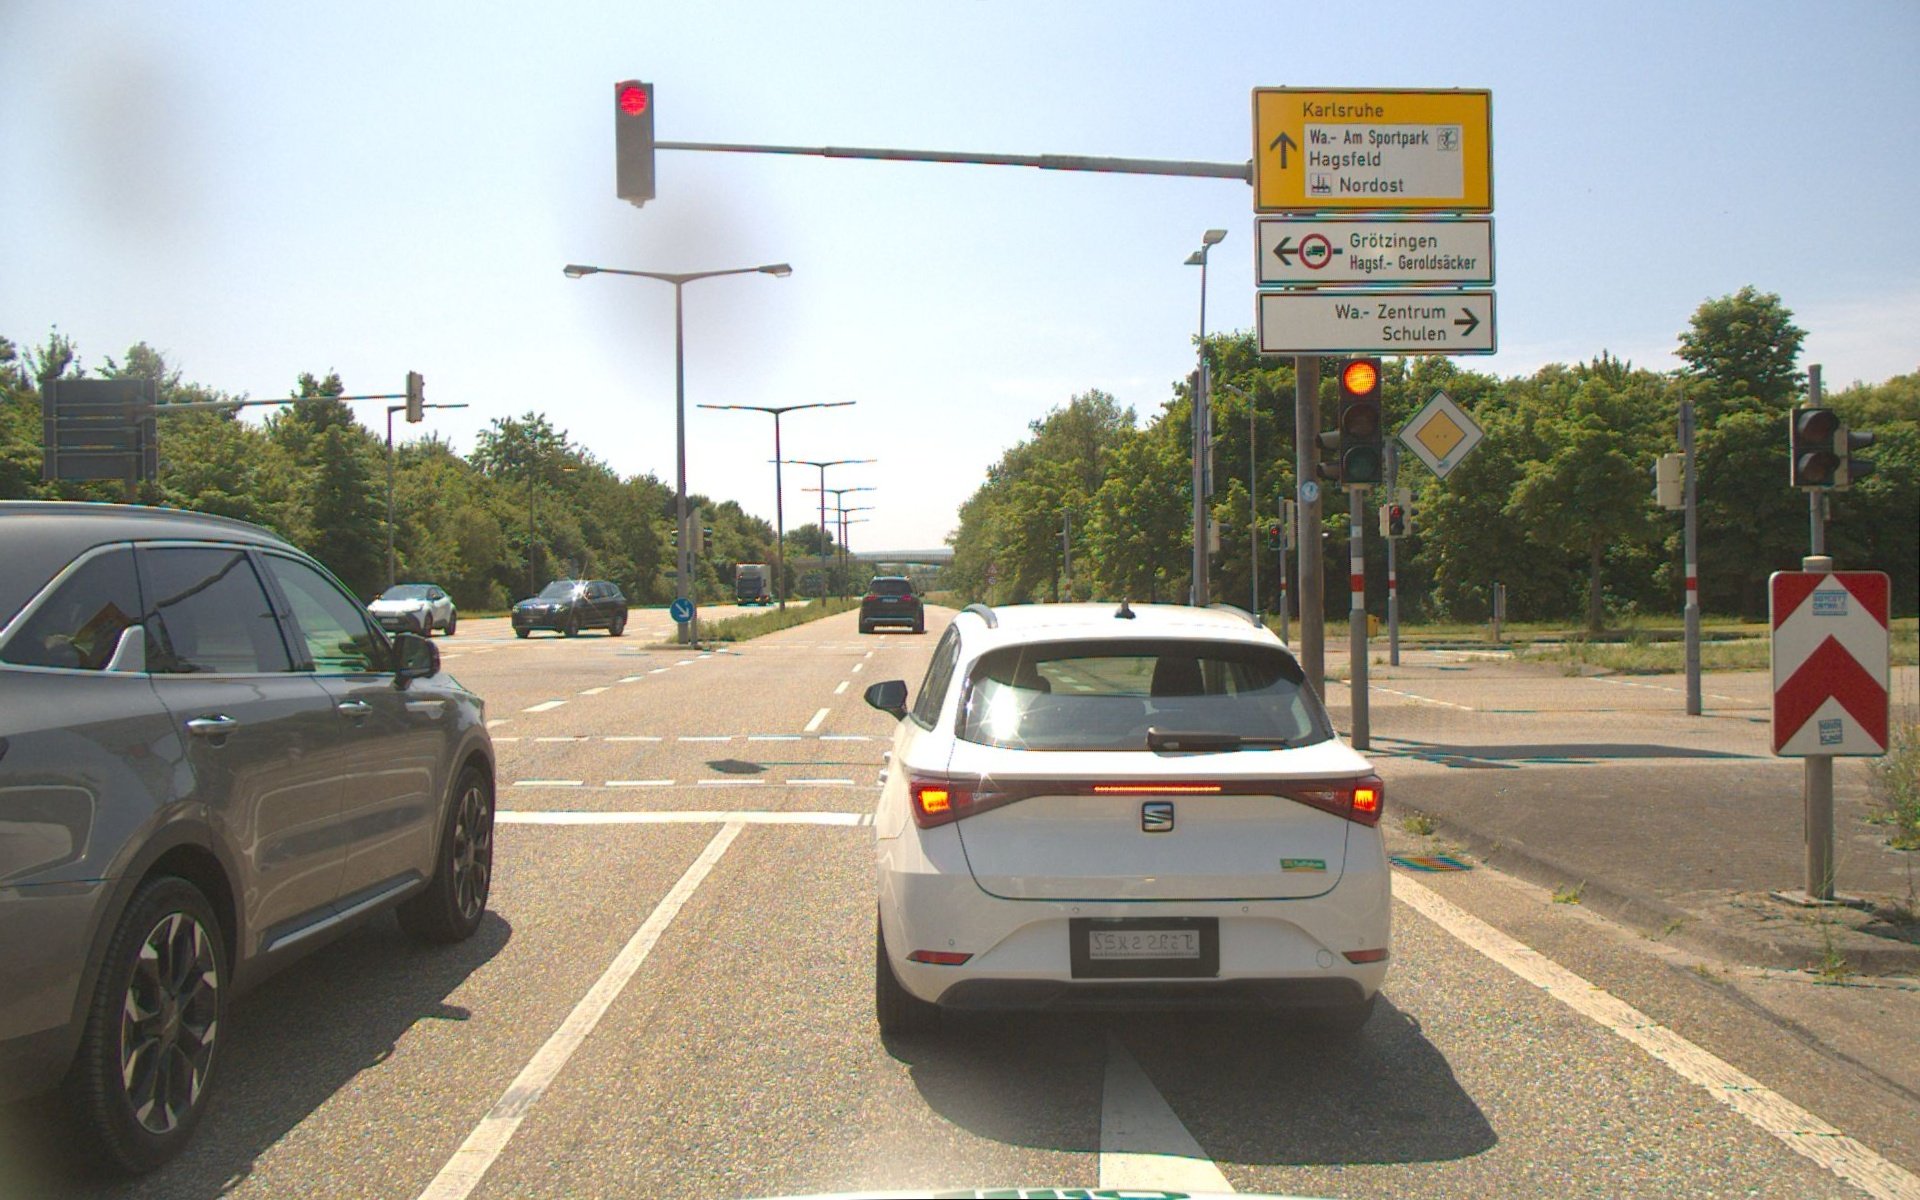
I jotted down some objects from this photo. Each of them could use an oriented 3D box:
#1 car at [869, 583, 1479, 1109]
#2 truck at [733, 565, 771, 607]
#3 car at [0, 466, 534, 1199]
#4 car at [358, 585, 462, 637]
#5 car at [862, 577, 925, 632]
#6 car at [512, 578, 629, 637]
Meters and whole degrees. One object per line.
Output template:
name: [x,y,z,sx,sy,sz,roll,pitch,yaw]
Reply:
car: [0.580,0.701,6.497,1.699,1.453,3.693,1,0,-1]
truck: [-18.581,-1.266,147.992,2.633,3.633,7.266,0,1,-1]
car: [-2.866,0.572,5.461,1.767,1.691,4.643,-1,0,-1]
car: [-16.617,0.312,50.154,1.785,1.481,4.168,-1,1,-1]
car: [-2.168,0.118,54.812,1.816,1.738,4.001,-1,1,1]
car: [-11.743,0.184,50.094,1.670,1.692,4.226,-1,1,14]
